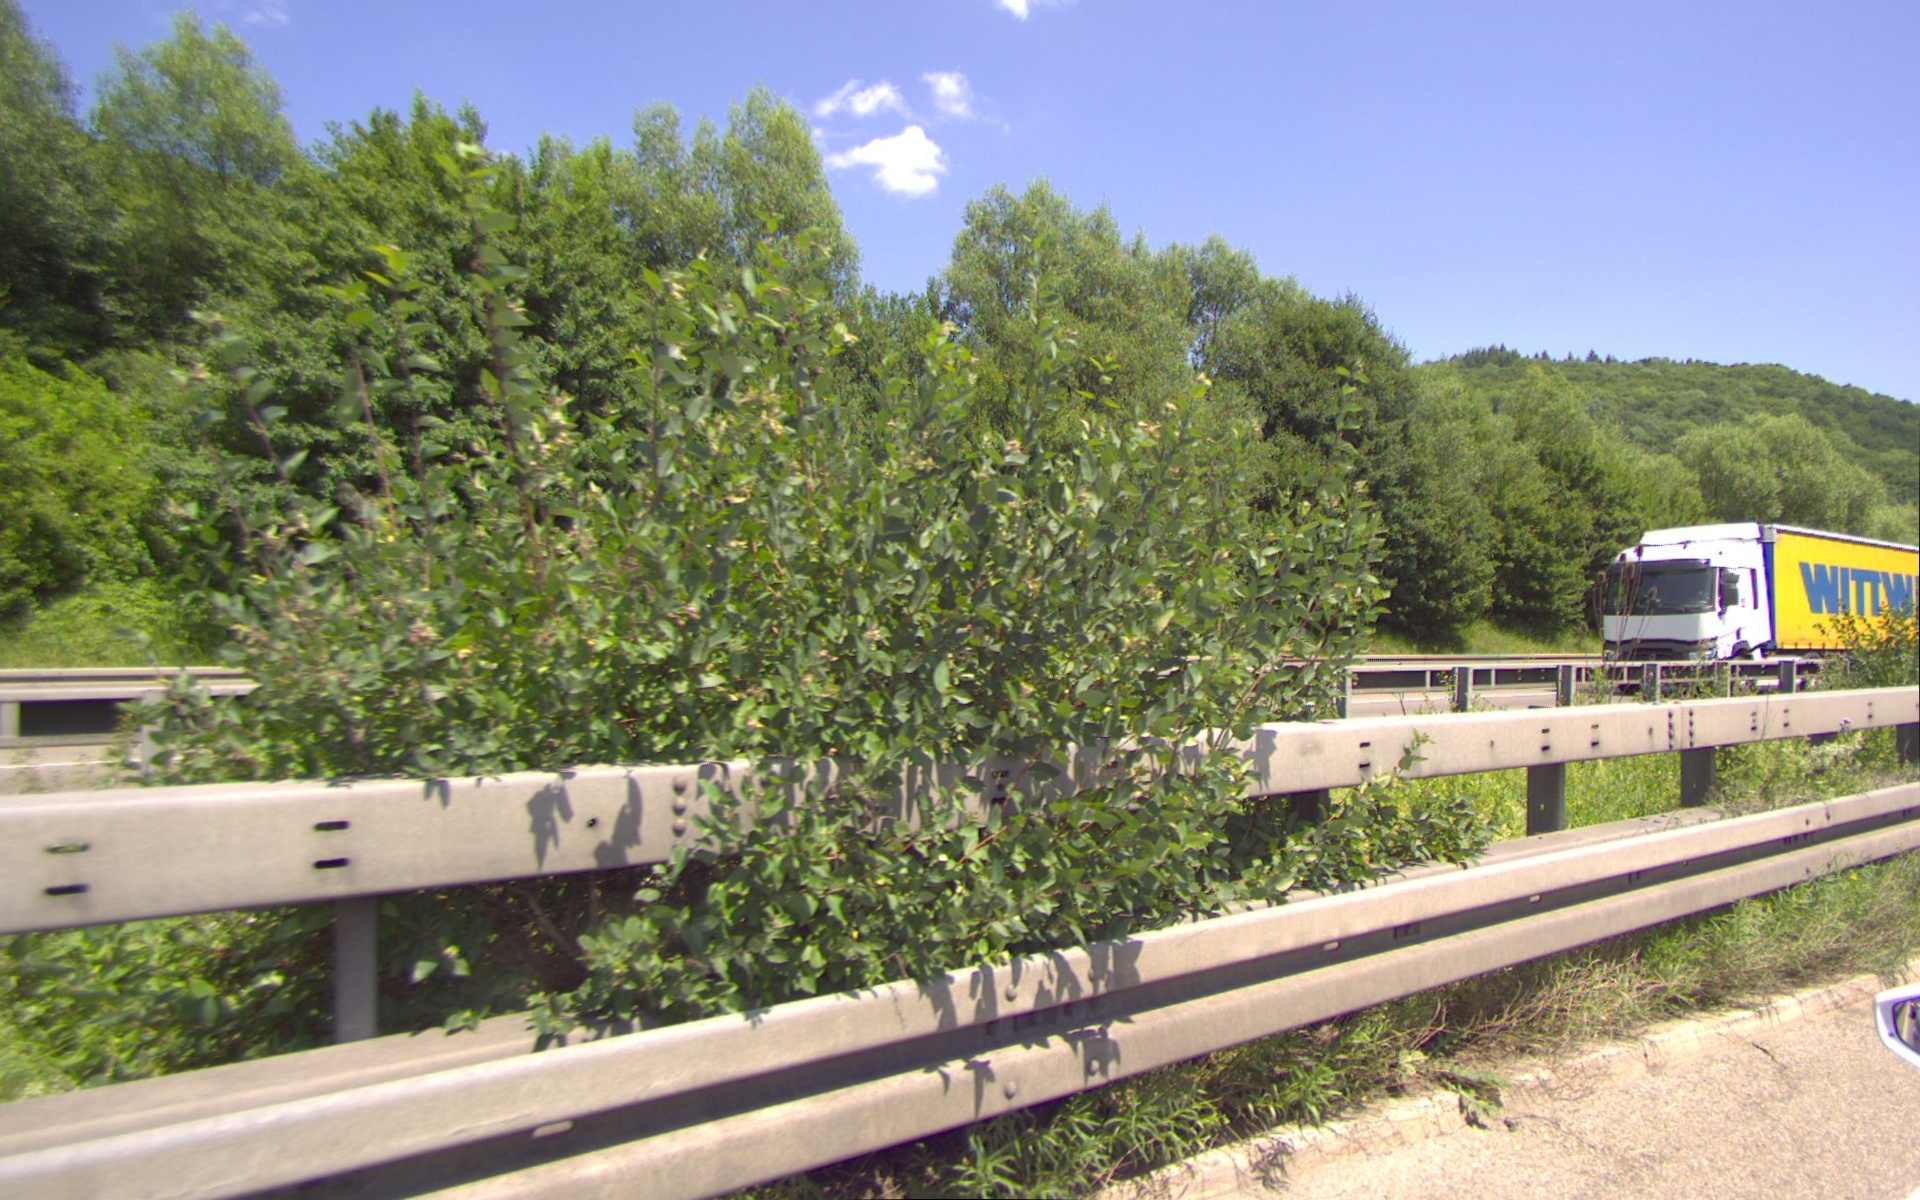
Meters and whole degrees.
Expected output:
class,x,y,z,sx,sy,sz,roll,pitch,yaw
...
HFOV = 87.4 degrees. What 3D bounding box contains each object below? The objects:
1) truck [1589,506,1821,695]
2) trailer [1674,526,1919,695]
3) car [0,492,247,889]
class,x,y,z,sx,sy,sz,roll,pitch,yaw
truck,18.272,0.090,24.576,5.782,4.144,2.535,1,-1,-31
trailer,24.754,0.396,28.419,12.454,4.058,2.568,2,0,-31
car,-6.303,0.423,5.278,3.953,1.996,1.906,1,0,-30
